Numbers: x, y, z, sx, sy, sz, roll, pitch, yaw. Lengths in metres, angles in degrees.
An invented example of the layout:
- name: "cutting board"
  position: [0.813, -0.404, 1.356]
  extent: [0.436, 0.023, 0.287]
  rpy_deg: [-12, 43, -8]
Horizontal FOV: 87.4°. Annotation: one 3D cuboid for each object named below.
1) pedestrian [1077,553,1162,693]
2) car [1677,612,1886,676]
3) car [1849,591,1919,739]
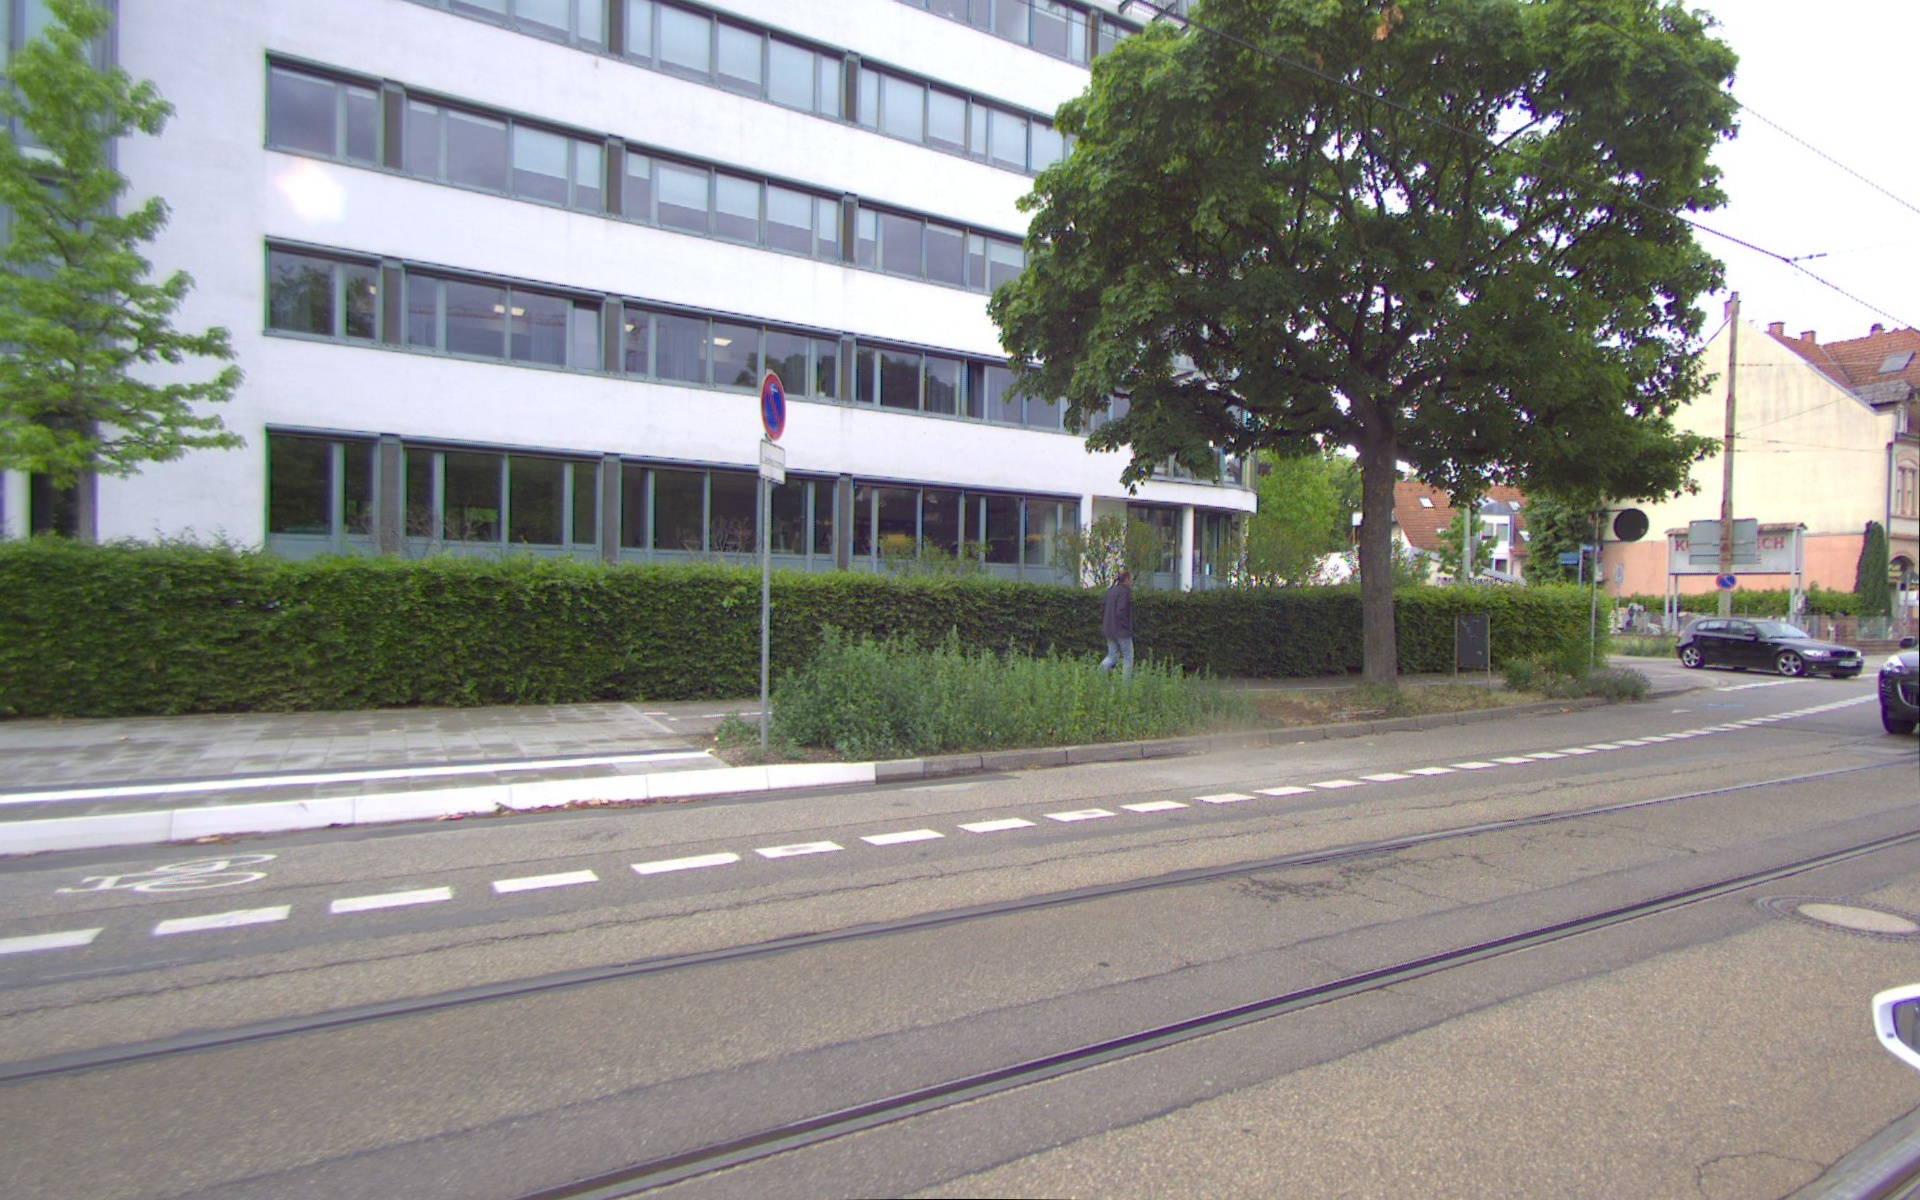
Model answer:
- name: "pedestrian"
  position: [2.397, 0.340, 15.162]
  extent: [0.977, 2.041, 0.708]
  rpy_deg: [2, 1, -23]
- name: "car"
  position: [20.649, 1.057, 25.482]
  extent: [1.769, 1.406, 3.926]
  rpy_deg: [1, 0, -8]
- name: "car"
  position: [13.423, 0.820, 12.818]
  extent: [4.283, 1.760, 1.819]
  rpy_deg: [1, 0, -30]
